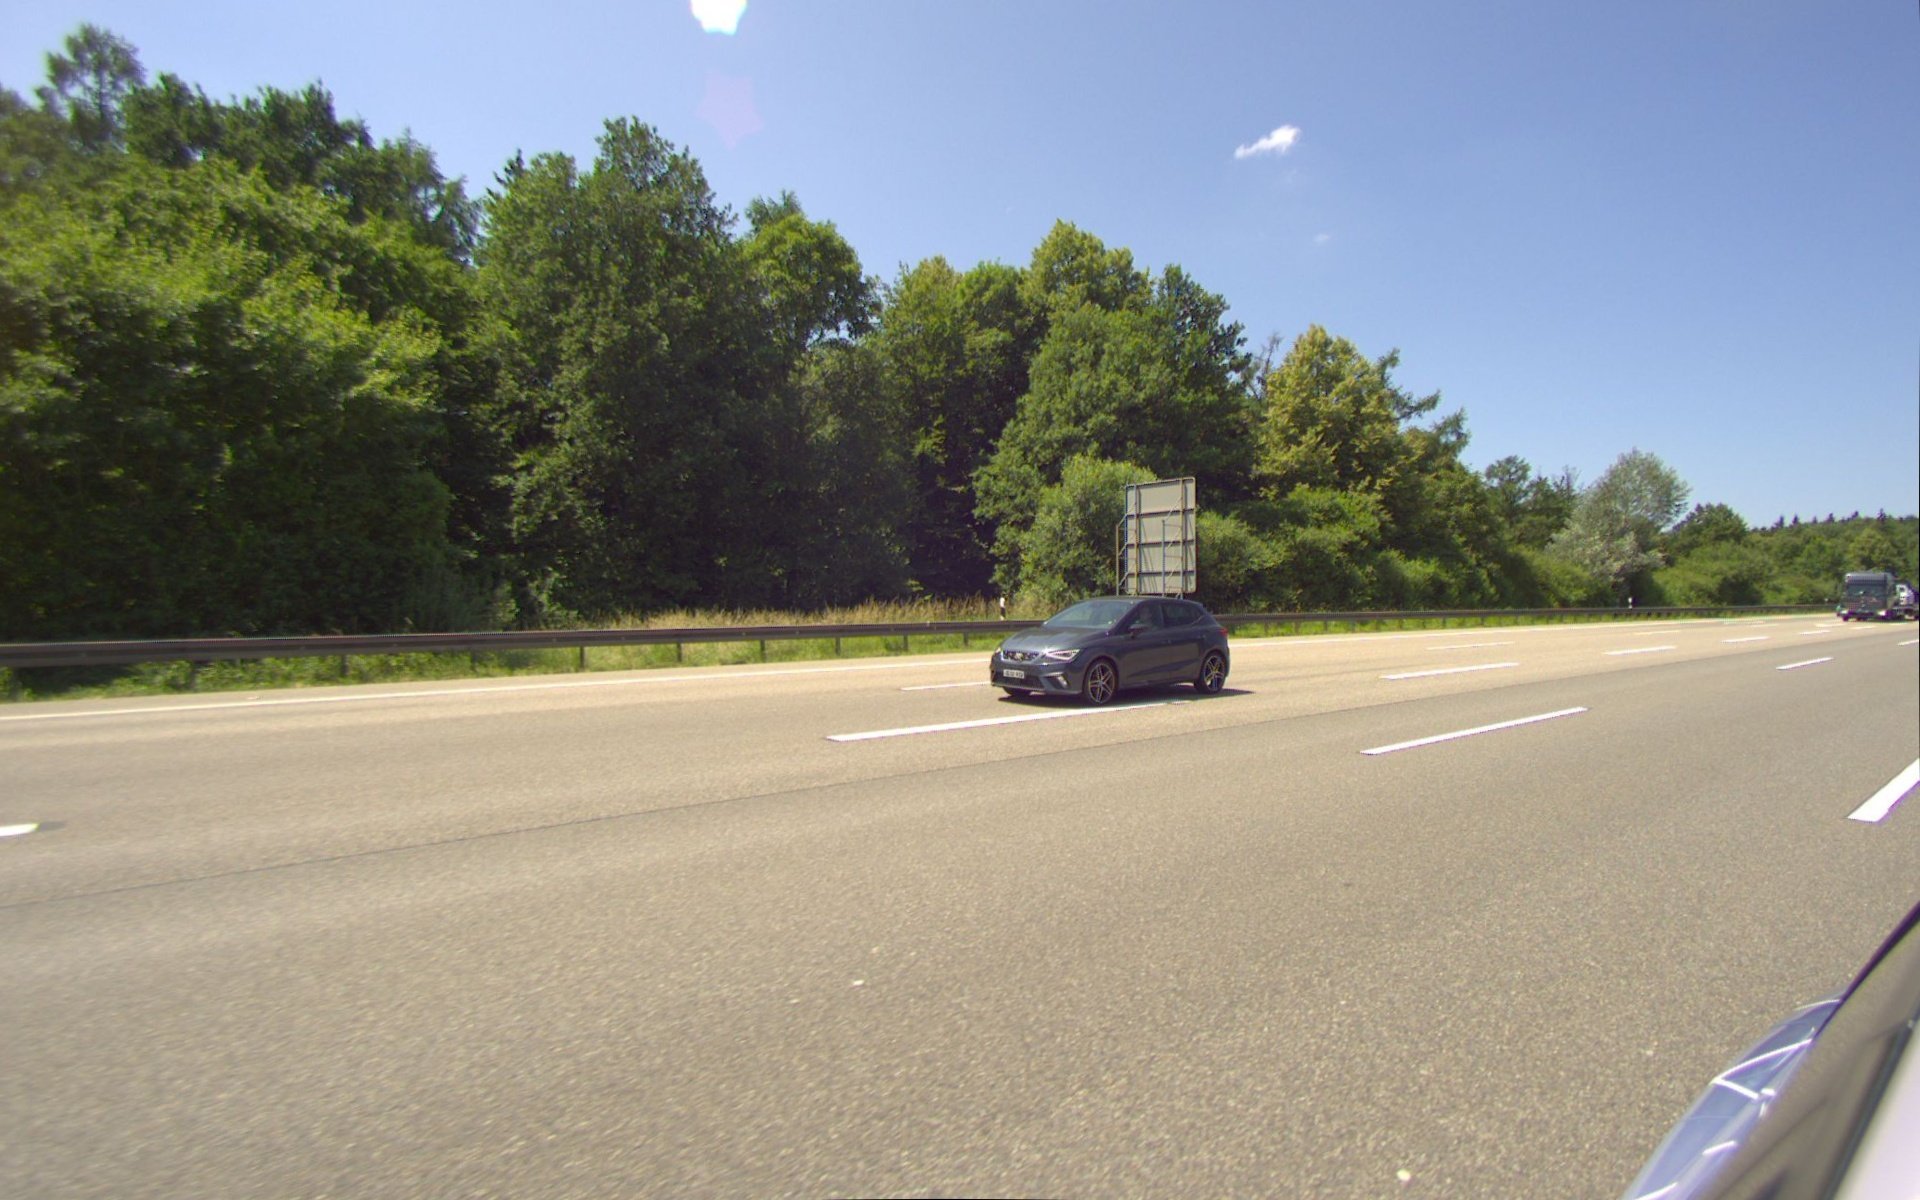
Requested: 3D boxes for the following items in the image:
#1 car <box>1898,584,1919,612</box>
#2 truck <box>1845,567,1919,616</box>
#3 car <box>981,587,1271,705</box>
[{"bbox_3d":[66.832,-0.170,70.217,4.783,1.919,1.998,-1,0,-40],"label":"car"},{"bbox_3d":[58.801,-0.557,63.989,10.691,2.892,2.659,-1,0,-40],"label":"truck"},{"bbox_3d":[2.553,0.557,14.850,4.553,1.456,1.646,-1,0,-40],"label":"car"}]
